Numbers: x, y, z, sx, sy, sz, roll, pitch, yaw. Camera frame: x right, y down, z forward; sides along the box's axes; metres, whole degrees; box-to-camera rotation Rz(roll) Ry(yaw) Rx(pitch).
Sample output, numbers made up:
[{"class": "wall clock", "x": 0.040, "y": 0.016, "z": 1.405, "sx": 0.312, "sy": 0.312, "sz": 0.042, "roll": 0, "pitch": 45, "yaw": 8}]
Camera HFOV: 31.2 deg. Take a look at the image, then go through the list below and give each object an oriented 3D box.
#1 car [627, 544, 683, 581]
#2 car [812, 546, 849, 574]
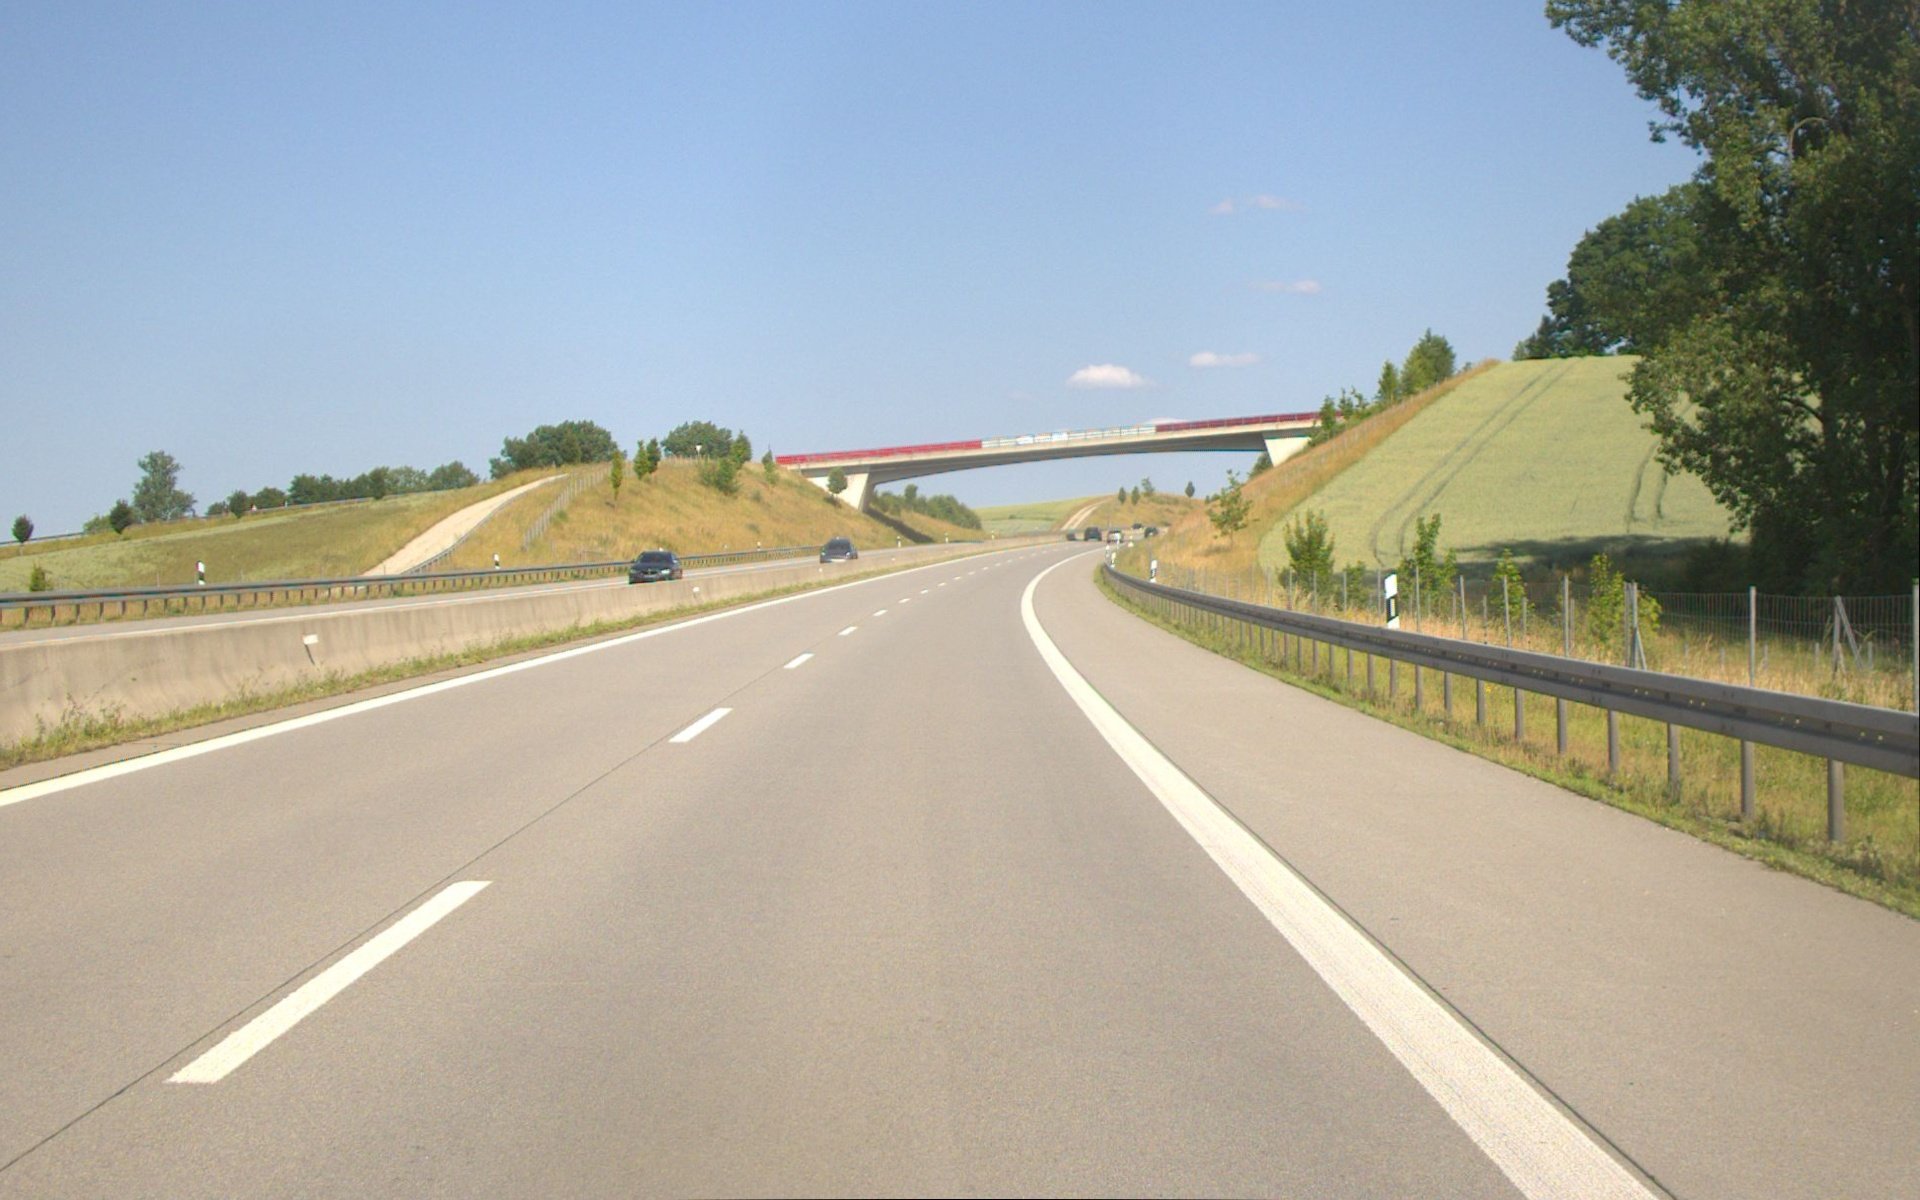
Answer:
[{"class": "car", "x": -12.432, "y": -1.517, "z": 140.367, "sx": 1.813, "sy": 1.451, "sz": 4.512, "roll": 1, "pitch": 0, "yaw": 1}, {"class": "car", "x": -7.633, "y": -2.371, "z": 203.360, "sx": 1.813, "sy": 1.609, "sz": 4.676, "roll": 1, "pitch": 0, "yaw": 2}]
